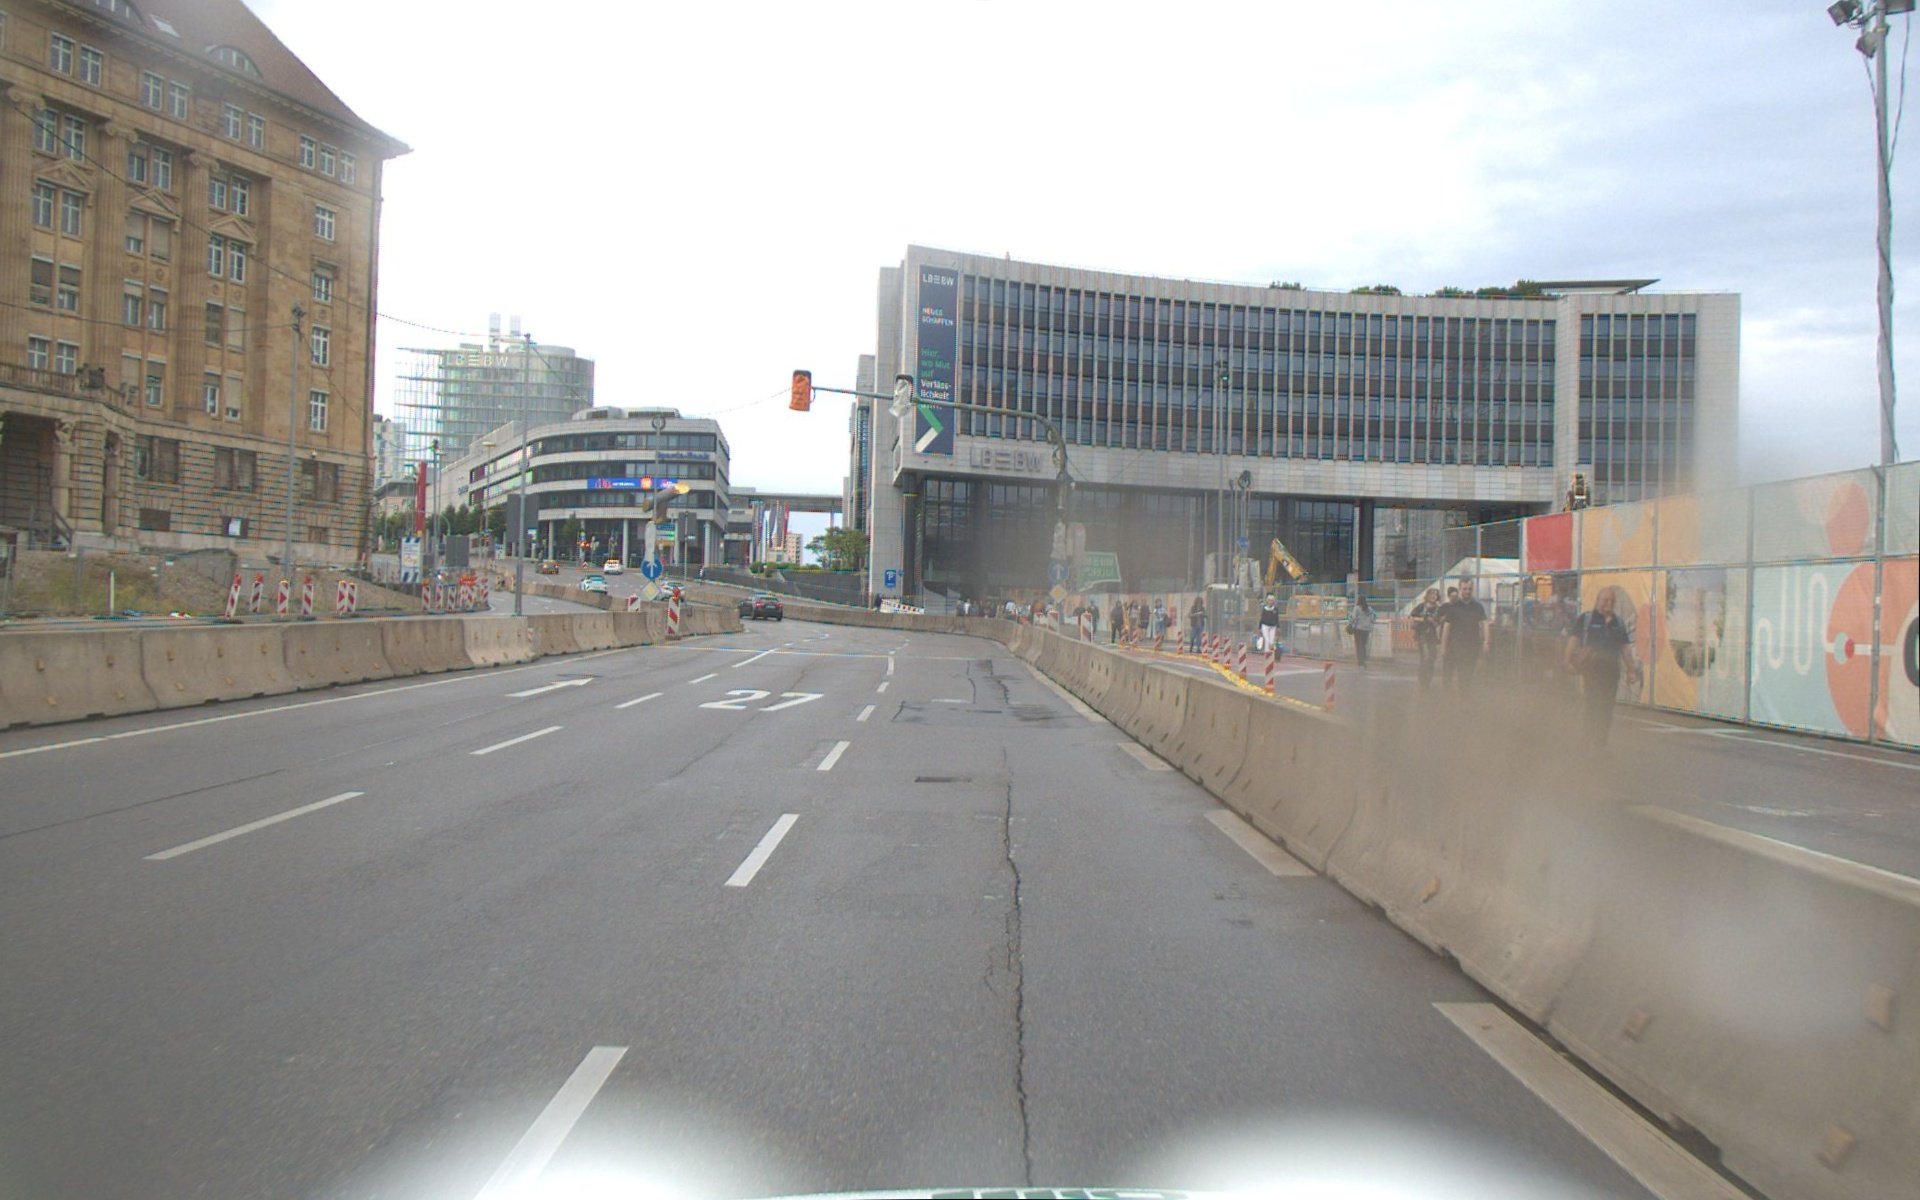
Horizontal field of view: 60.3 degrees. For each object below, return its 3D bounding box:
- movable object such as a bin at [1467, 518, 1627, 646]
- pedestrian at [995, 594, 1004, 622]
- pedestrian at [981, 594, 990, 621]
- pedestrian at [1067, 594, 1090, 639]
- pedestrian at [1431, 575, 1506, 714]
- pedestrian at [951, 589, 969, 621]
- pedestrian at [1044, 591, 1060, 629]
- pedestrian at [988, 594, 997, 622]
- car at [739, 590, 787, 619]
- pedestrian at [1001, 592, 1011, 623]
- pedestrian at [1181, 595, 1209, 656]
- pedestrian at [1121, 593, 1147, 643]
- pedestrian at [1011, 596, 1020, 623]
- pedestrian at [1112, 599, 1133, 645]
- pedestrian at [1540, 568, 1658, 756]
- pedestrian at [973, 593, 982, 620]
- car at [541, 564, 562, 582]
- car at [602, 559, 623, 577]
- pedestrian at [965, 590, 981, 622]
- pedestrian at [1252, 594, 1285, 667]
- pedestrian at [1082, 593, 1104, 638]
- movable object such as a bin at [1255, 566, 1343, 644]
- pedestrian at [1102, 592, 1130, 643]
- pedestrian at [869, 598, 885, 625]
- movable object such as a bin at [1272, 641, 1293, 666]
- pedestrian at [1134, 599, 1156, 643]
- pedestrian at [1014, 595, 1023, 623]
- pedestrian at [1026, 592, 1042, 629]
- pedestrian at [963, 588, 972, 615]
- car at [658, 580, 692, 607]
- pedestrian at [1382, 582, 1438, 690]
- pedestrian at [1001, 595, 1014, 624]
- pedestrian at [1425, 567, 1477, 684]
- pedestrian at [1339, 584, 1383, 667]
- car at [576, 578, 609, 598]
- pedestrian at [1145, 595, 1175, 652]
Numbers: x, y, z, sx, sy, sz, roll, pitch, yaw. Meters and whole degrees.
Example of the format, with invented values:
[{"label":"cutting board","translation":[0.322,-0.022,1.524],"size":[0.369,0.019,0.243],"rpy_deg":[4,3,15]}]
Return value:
[{"label":"movable object such as a bin","translation":[17.134,-0.524,48.623],"size":[3.844,3.553,4.359],"rpy_deg":[1,0,12]},{"label":"pedestrian","translation":[2.465,0.515,103.497],"size":[0.438,1.734,0.647],"rpy_deg":[2,0,7]},{"label":"pedestrian","translation":[1.685,0.477,108.224],"size":[0.439,1.734,0.646],"rpy_deg":[2,0,-6]},{"label":"pedestrian","translation":[5.039,0.695,70.360],"size":[0.803,1.859,1.110],"rpy_deg":[1,0,-4]},{"label":"pedestrian","translation":[7.172,0.622,23.357],"size":[0.780,1.910,0.820],"rpy_deg":[2,0,0]},{"label":"pedestrian","translation":[-0.003,0.286,88.106],"size":[0.738,1.670,0.820],"rpy_deg":[2,0,-14]},{"label":"pedestrian","translation":[5.096,0.563,91.620],"size":[0.768,2.049,0.863],"rpy_deg":[2,0,5]},{"label":"pedestrian","translation":[2.034,0.496,103.913],"size":[0.439,1.734,0.647],"rpy_deg":[2,0,5]},{"label":"car","translation":[-11.454,0.263,96.038],"size":[1.653,1.535,3.714],"rpy_deg":[3,-3,-25]},{"label":"pedestrian","translation":[2.805,0.470,100.342],"size":[0.518,1.850,0.536],"rpy_deg":[2,0,-2]},{"label":"pedestrian","translation":[7.432,0.807,52.345],"size":[0.676,1.894,0.810],"rpy_deg":[2,0,-5]},{"label":"pedestrian","translation":[6.739,0.693,64.220],"size":[0.764,1.894,1.057],"rpy_deg":[2,0,-5]},{"label":"pedestrian","translation":[3.596,0.607,106.861],"size":[0.490,1.734,0.732],"rpy_deg":[2,0,-3]},{"label":"pedestrian","translation":[6.769,0.918,68.973],"size":[0.718,1.886,0.831],"rpy_deg":[2,-1,-4]},{"label":"pedestrian","translation":[6.549,0.625,16.980],"size":[0.906,1.866,0.686],"rpy_deg":[2,0,0]},{"label":"pedestrian","translation":[1.131,0.395,108.145],"size":[0.444,1.734,0.646],"rpy_deg":[2,0,-6]},{"label":"car","translation":[-42.860,-2.850,173.574],"size":[1.961,1.835,4.248],"rpy_deg":[2,1,-15]},{"label":"car","translation":[-37.416,-3.492,177.967],"size":[1.961,1.835,4.248],"rpy_deg":[2,1,-15]},{"label":"pedestrian","translation":[0.673,0.341,88.290],"size":[0.647,1.670,0.820],"rpy_deg":[2,0,-14]},{"label":"pedestrian","translation":[8.153,0.798,43.684],"size":[0.651,1.894,0.682],"rpy_deg":[2,0,-6]},{"label":"pedestrian","translation":[5.744,0.649,71.278],"size":[0.764,1.894,0.810],"rpy_deg":[2,0,-6]},{"label":"movable object such as a bin","translation":[18.495,0.251,90.388],"size":[3.047,4.100,3.668],"rpy_deg":[2,0,-25]},{"label":"pedestrian","translation":[5.924,0.649,62.705],"size":[0.853,1.894,0.948],"rpy_deg":[2,0,-5]},{"label":"pedestrian","translation":[-5.690,0.800,113.545],"size":[0.746,1.821,1.050],"rpy_deg":[2,-1,-23]},{"label":"movable object such as a bin","translation":[8.591,1.427,44.072],"size":[0.425,0.635,0.534],"rpy_deg":[2,0,-5]},{"label":"pedestrian","translation":[7.986,0.908,71.359],"size":[0.764,1.894,0.810],"rpy_deg":[0,0,-6]},{"label":"pedestrian","translation":[3.698,0.554,104.671],"size":[0.439,1.734,0.646],"rpy_deg":[2,0,-3]},{"label":"pedestrian","translation":[4.098,0.578,91.715],"size":[0.768,2.049,0.863],"rpy_deg":[2,0,5]},{"label":"pedestrian","translation":[0.502,0.091,107.869],"size":[0.439,1.734,0.646],"rpy_deg":[2,0,-6]},{"label":"car","translation":[-20.461,-0.474,118.766],"size":[1.714,1.908,3.754],"rpy_deg":[2,0,-21]},{"label":"pedestrian","translation":[7.943,0.626,29.236],"size":[0.780,1.866,0.626],"rpy_deg":[2,0,0]},{"label":"pedestrian","translation":[2.939,0.588,101.918],"size":[0.507,1.734,0.567],"rpy_deg":[2,0,-39]},{"label":"pedestrian","translation":[8.696,0.442,29.331],"size":[0.665,2.048,0.686],"rpy_deg":[1,1,0]},{"label":"pedestrian","translation":[9.381,0.596,38.681],"size":[0.771,1.894,0.682],"rpy_deg":[2,0,-6]},{"label":"car","translation":[-29.035,-0.975,130.614],"size":[1.720,1.532,3.721],"rpy_deg":[2,0,-27]},{"label":"pedestrian","translation":[6.777,0.790,56.061],"size":[0.764,1.894,0.948],"rpy_deg":[2,0,-5]}]
